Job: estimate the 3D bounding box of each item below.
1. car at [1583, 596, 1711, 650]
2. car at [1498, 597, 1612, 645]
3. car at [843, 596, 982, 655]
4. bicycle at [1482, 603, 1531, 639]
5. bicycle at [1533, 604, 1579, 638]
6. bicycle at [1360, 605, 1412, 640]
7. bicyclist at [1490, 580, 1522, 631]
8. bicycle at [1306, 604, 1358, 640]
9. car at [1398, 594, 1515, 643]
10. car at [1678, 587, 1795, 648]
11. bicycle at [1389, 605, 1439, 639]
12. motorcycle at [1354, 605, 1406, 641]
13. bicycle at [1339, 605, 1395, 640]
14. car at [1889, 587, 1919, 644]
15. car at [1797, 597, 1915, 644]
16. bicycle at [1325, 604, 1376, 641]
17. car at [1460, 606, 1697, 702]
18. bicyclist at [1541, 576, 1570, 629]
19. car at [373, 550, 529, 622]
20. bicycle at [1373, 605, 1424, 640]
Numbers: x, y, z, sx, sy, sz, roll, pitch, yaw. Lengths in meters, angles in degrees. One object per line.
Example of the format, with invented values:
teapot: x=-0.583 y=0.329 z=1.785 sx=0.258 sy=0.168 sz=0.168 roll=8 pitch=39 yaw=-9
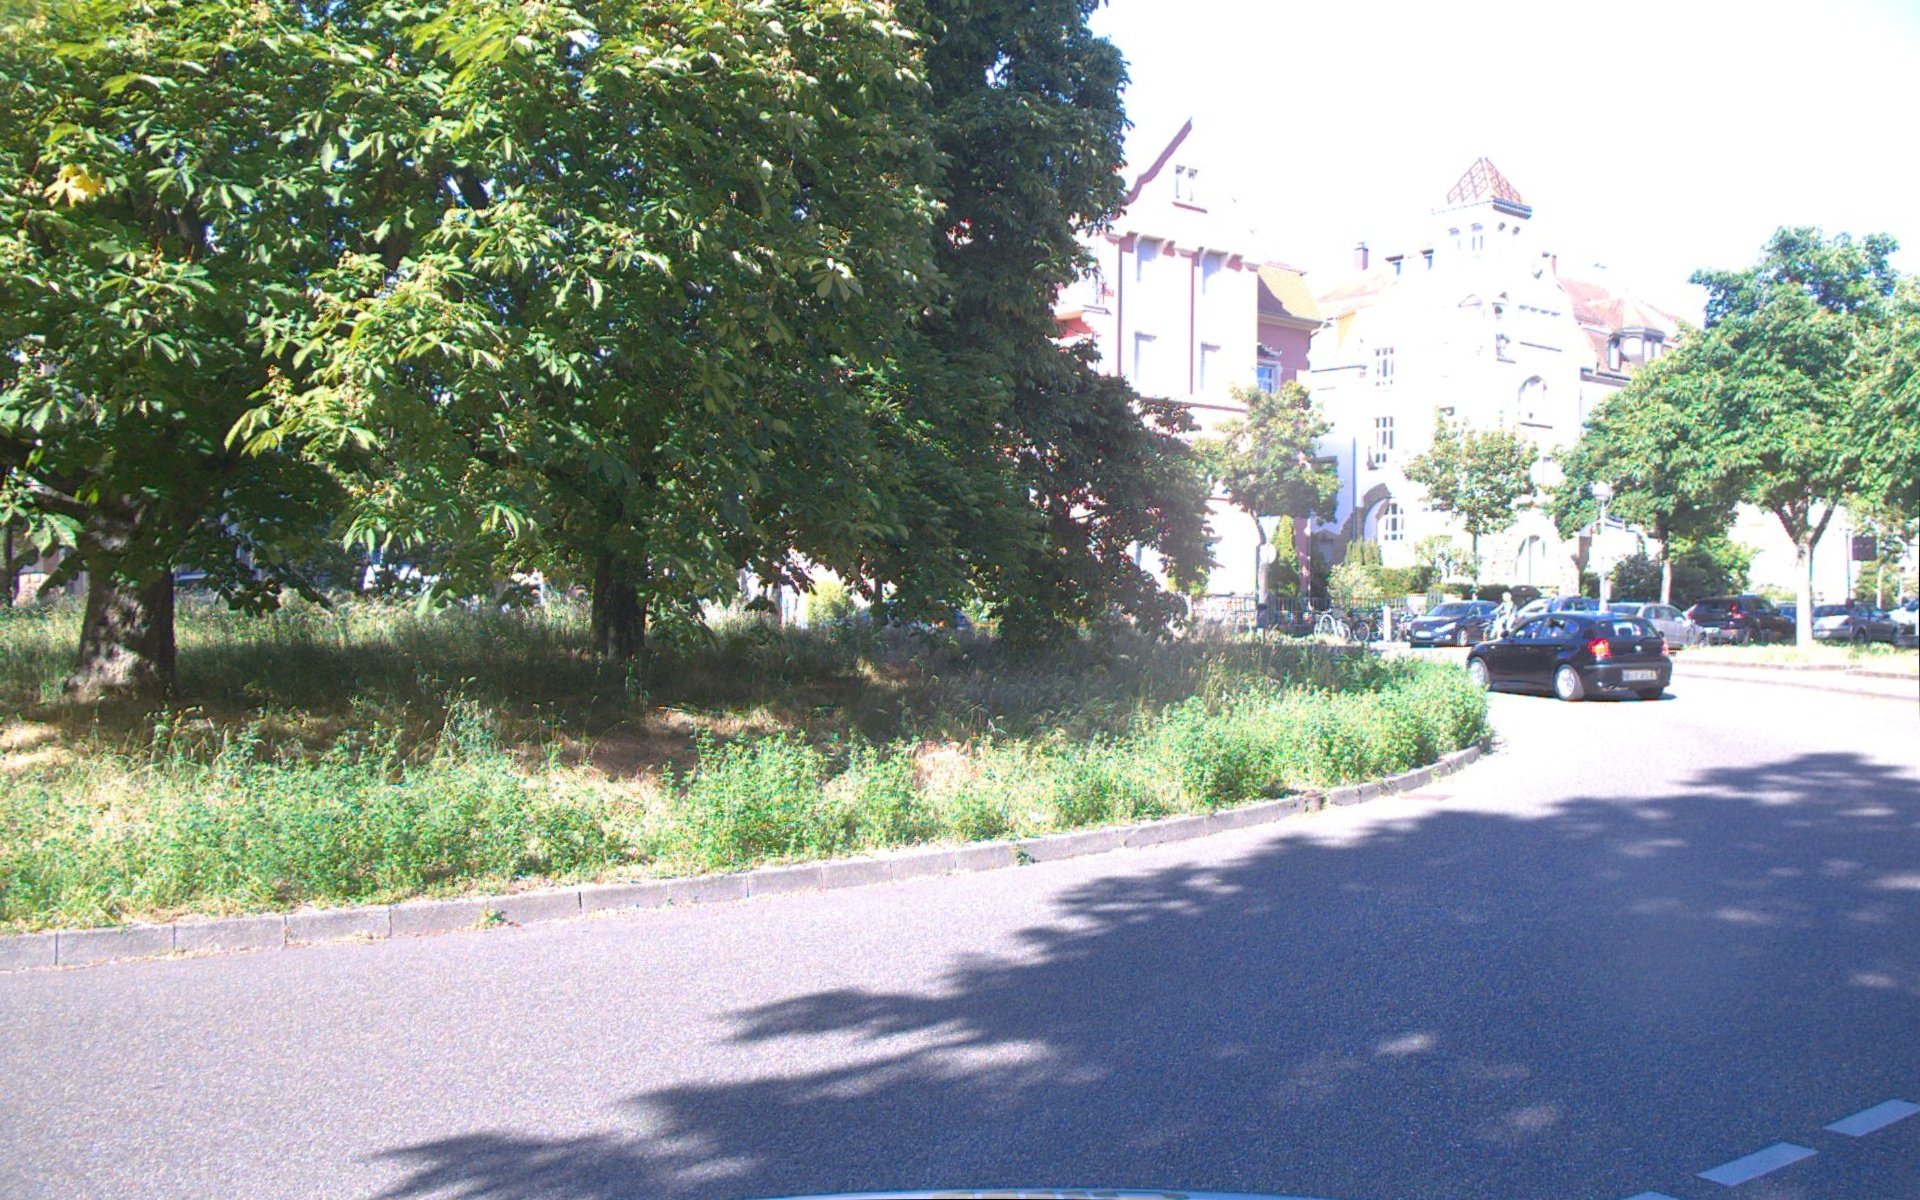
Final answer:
car: x=19.552 y=0.629 z=46.990 sx=4.304 sy=1.440 sz=1.781 roll=0 pitch=1 yaw=-44
car: x=20.793 y=0.724 z=57.731 sx=4.357 sy=1.589 sz=1.784 roll=0 pitch=-2 yaw=-40
car: x=-1.356 y=0.673 z=46.136 sx=1.813 sy=1.559 sz=3.939 roll=0 pitch=0 yaw=-42
bicycle: x=17.315 y=0.667 z=52.399 sx=1.844 sy=1.127 sz=0.587 roll=0 pitch=-1 yaw=-39
bicycle: x=19.622 y=0.694 z=54.434 sx=1.700 sy=1.127 sz=0.637 roll=1 pitch=-1 yaw=-39
bicycle: x=14.691 y=0.772 z=57.095 sx=0.497 sy=1.126 sz=1.698 roll=0 pitch=2 yaw=-45
bicyclist: x=17.303 y=0.183 z=52.400 sx=0.792 sy=1.609 sz=0.590 roll=0 pitch=-1 yaw=-28
bicycle: x=12.396 y=0.729 z=55.145 sx=0.540 sy=1.134 sz=1.704 roll=0 pitch=2 yaw=-38
car: x=16.292 y=0.600 z=54.158 sx=4.306 sy=1.509 sz=1.780 roll=0 pitch=-2 yaw=-44
car: x=23.529 y=0.509 z=50.035 sx=4.304 sy=1.758 sz=1.781 roll=0 pitch=1 yaw=-44
bicycle: x=15.945 y=0.767 z=58.118 sx=0.511 sy=1.126 sz=1.701 roll=0 pitch=2 yaw=-41
motorcycle: x=14.368 y=0.776 z=56.598 sx=0.497 sy=1.126 sz=1.698 roll=0 pitch=2 yaw=-45
bicycle: x=13.810 y=0.755 z=56.169 sx=1.793 sy=1.126 sz=0.499 roll=2 pitch=2 yaw=36
car: x=36.380 y=0.604 z=59.623 sx=1.795 sy=2.036 sz=4.705 roll=0 pitch=1 yaw=-43
car: x=29.798 y=0.673 z=54.979 sx=4.290 sy=1.499 sz=1.787 roll=0 pitch=1 yaw=-36
bicycle: x=13.133 y=0.750 z=55.709 sx=0.540 sy=1.134 sz=1.704 roll=0 pitch=2 yaw=-38
car: x=10.287 y=0.854 z=27.850 sx=1.833 sy=1.444 sz=3.986 roll=-1 pitch=0 yaw=-14
bicyclist: x=19.606 y=0.081 z=54.437 sx=0.716 sy=1.744 sz=0.637 roll=1 pitch=-1 yaw=-39
car: x=-19.904 y=-0.549 z=64.569 sx=6.238 sy=2.646 sz=2.099 roll=2 pitch=0 yaw=30
bicycle: x=15.231 y=0.774 z=57.496 sx=0.496 sy=1.126 sz=1.701 roll=0 pitch=2 yaw=-41
